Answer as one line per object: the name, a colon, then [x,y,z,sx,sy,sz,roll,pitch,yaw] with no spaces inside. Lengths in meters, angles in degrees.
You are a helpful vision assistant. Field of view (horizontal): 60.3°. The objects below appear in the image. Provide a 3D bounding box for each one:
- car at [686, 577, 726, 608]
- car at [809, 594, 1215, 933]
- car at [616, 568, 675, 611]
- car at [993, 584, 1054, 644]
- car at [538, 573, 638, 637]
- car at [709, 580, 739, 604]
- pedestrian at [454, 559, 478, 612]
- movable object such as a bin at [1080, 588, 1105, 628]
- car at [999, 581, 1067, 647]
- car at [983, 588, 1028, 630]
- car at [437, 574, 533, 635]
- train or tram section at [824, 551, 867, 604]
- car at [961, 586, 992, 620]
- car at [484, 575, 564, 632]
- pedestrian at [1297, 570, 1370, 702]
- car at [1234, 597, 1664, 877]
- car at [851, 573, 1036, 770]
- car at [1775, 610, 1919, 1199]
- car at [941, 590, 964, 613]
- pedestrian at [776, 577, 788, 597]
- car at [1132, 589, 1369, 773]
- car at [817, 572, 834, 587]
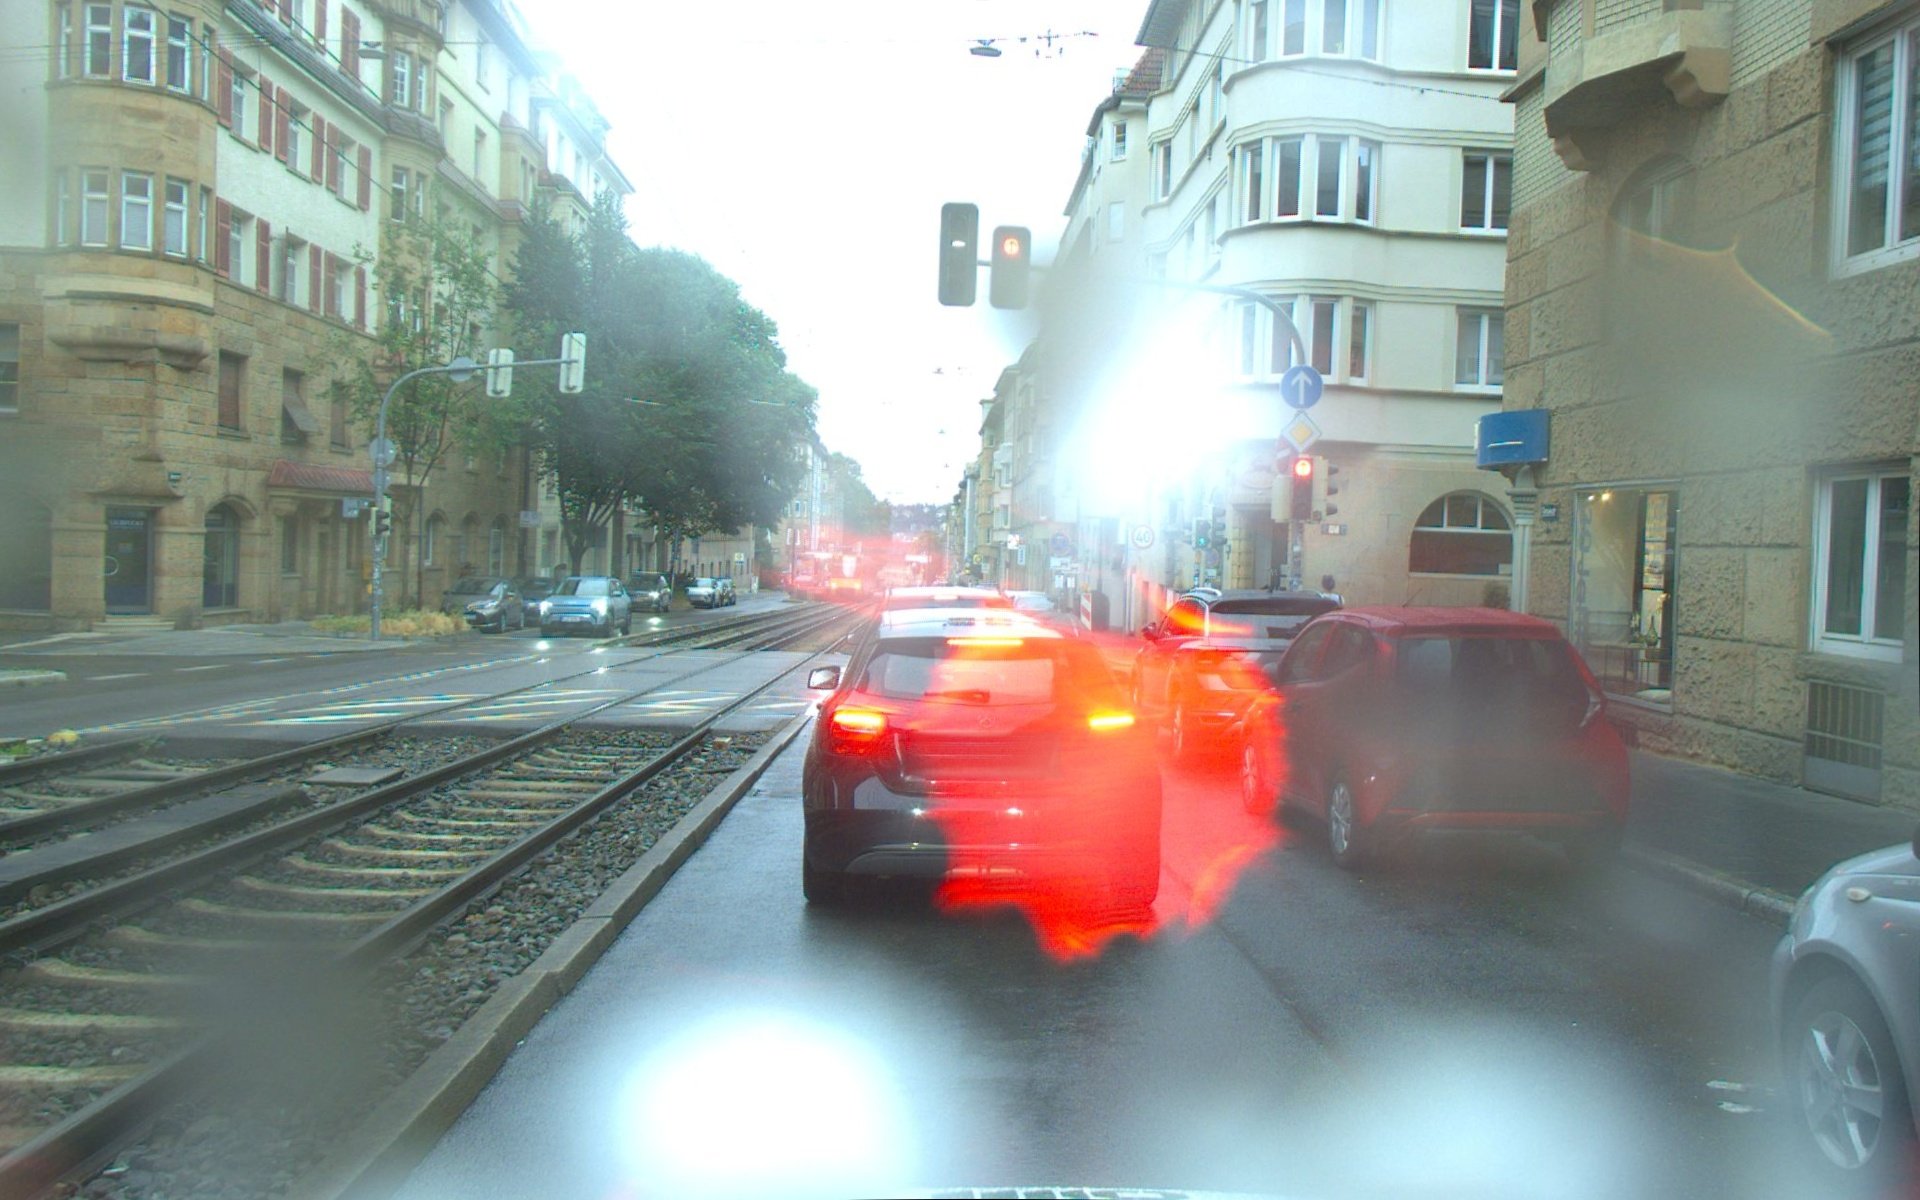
car: [-13.655,-0.392,88.976,1.557,1.608,3.917,1,0,-1]
car: [0.202,0.726,9.463,1.792,1.483,4.103,1,0,-1]
car: [-13.558,-0.420,71.515,1.837,1.767,3.917,1,0,-1]
car: [1.775,0.367,47.152,1.513,1.618,3.547,1,0,-1]
car: [-10.041,0.138,44.937,1.860,1.615,3.972,1,0,-1]
car: [-14.024,-0.448,98.381,1.419,1.354,3.270,1,0,-3]
pedestrian: [-16.266,-0.477,54.487,0.619,1.702,0.701,1,-1,-7]
movable object such as a bin: [4.769,0.290,59.656,0.859,1.413,0.983,1,-1,3]
car: [1.846,0.340,42.678,1.513,1.618,3.547,1,0,-1]
car: [1.669,0.314,61.561,1.513,1.512,3.547,1,0,-1]
car: [-13.005,0.122,45.506,1.718,1.579,4.032,1,0,-4]
train or tram section: [-8.917,-1.667,130.105,2.726,3.928,10.427,1,0,-1]
car: [0.727,0.119,73.618,1.268,1.467,2.928,1,0,-1]
car: [-13.270,0.104,50.532,1.683,1.639,3.914,1,0,-5]
pedestrian: [5.191,0.491,23.049,0.726,1.778,1.111,1,-1,-1]
car: [2.917,0.741,10.573,1.609,1.473,3.297,1,0,-3]
car: [-0.166,0.611,15.846,1.533,1.637,3.813,1,0,-1]
car: [3.135,0.781,3.113,1.581,1.493,3.312,0,0,0]
car: [-0.519,0.099,123.734,1.512,1.664,3.687,1,0,2]
pedestrian: [-18.954,-1.383,176.021,1.031,1.992,1.043,2,0,0]
car: [2.641,0.669,15.808,1.513,1.512,3.829,1,0,-1]
car: [-12.169,-1.813,149.618,1.349,1.271,3.296,1,0,-2]
